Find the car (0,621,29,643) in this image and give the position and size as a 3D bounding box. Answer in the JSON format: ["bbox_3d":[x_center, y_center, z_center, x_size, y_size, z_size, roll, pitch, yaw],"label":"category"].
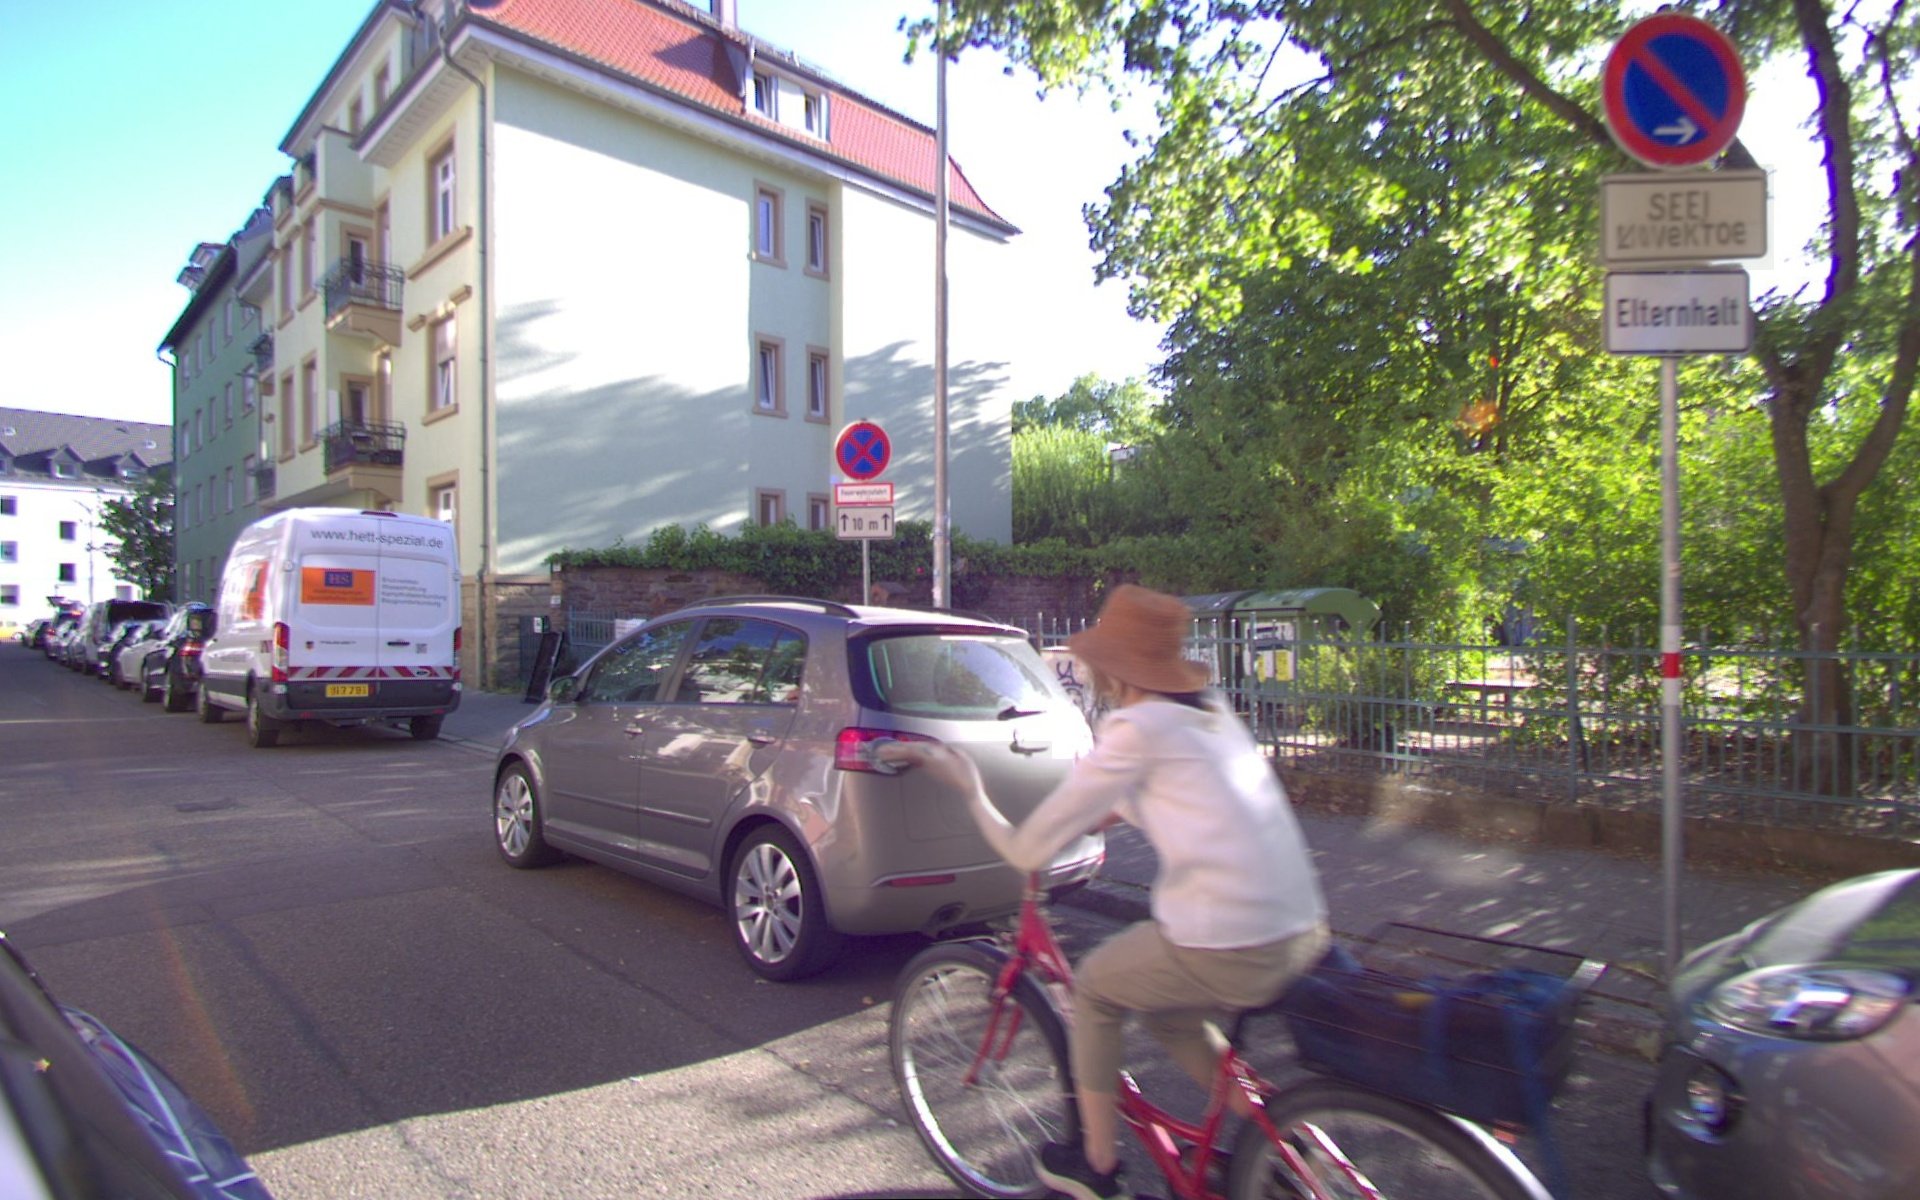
[{"bbox_3d":[-64.866,2.162,67.703,1.552,1.459,3.568,0,0,37],"label":"car"}]

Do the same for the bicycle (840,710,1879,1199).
[{"bbox_3d":[0.544,0.831,1.889,0.657,1.085,1.687,-1,0,-42],"label":"bicycle"}]

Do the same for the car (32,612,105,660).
[{"bbox_3d":[-35.948,1.425,40.776,4.417,1.857,1.751,-1,-3,44],"label":"car"}]

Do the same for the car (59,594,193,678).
[{"bbox_3d":[-23.913,1.033,28.940,5.244,2.185,2.226,-1,-3,43],"label":"car"}]

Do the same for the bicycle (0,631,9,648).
[{"bbox_3d":[-53.274,2.173,55.105,0.601,0.904,2.076,-1,0,39],"label":"bicycle"}]

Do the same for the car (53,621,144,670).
[{"bbox_3d":[-27.985,1.458,32.840,4.365,1.473,1.812,-1,-4,44],"label":"car"}]

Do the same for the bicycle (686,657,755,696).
[{"bbox_3d":[-3.833,1.211,16.134,0.400,0.545,1.434,-1,0,-43],"label":"bicycle"}]

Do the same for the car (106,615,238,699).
[{"bbox_3d":[-16.470,1.109,21.085,4.091,1.563,1.616,0,-2,45],"label":"car"}]

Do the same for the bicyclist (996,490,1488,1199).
[{"bbox_3d":[0.529,0.602,1.902,0.644,1.520,0.625,-1,0,-43],"label":"bicyclist"}]

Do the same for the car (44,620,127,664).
[{"bbox_3d":[-31.515,1.505,36.420,4.506,1.473,1.701,-1,-3,43],"label":"car"}]

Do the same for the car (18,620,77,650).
[{"bbox_3d":[-48.526,1.858,53.802,4.070,1.567,1.701,-1,-3,40],"label":"car"}]

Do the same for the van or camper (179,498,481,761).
[{"bbox_3d":[-8.648,0.392,13.586,2.104,2.790,5.855,3,-3,-45],"label":"van or camper"}]

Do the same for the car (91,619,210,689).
[{"bbox_3d":[-19.714,1.238,24.570,1.746,1.533,4.828,2,-2,-44],"label":"car"}]

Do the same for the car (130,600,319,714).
[{"bbox_3d":[-12.847,0.926,17.537,4.972,1.698,1.854,-1,-3,45],"label":"car"}]

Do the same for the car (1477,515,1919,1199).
[{"bbox_3d":[3.118,0.672,1.211,1.656,1.585,4.155,5,-4,-44],"label":"car"}]

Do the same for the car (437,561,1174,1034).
[{"bbox_3d":[-1.200,0.740,5.673,1.760,1.603,4.471,4,-3,-45],"label":"car"}]

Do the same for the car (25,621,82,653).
[{"bbox_3d":[-44.781,1.817,49.972,4.209,1.464,1.746,-2,-4,45],"label":"car"}]
